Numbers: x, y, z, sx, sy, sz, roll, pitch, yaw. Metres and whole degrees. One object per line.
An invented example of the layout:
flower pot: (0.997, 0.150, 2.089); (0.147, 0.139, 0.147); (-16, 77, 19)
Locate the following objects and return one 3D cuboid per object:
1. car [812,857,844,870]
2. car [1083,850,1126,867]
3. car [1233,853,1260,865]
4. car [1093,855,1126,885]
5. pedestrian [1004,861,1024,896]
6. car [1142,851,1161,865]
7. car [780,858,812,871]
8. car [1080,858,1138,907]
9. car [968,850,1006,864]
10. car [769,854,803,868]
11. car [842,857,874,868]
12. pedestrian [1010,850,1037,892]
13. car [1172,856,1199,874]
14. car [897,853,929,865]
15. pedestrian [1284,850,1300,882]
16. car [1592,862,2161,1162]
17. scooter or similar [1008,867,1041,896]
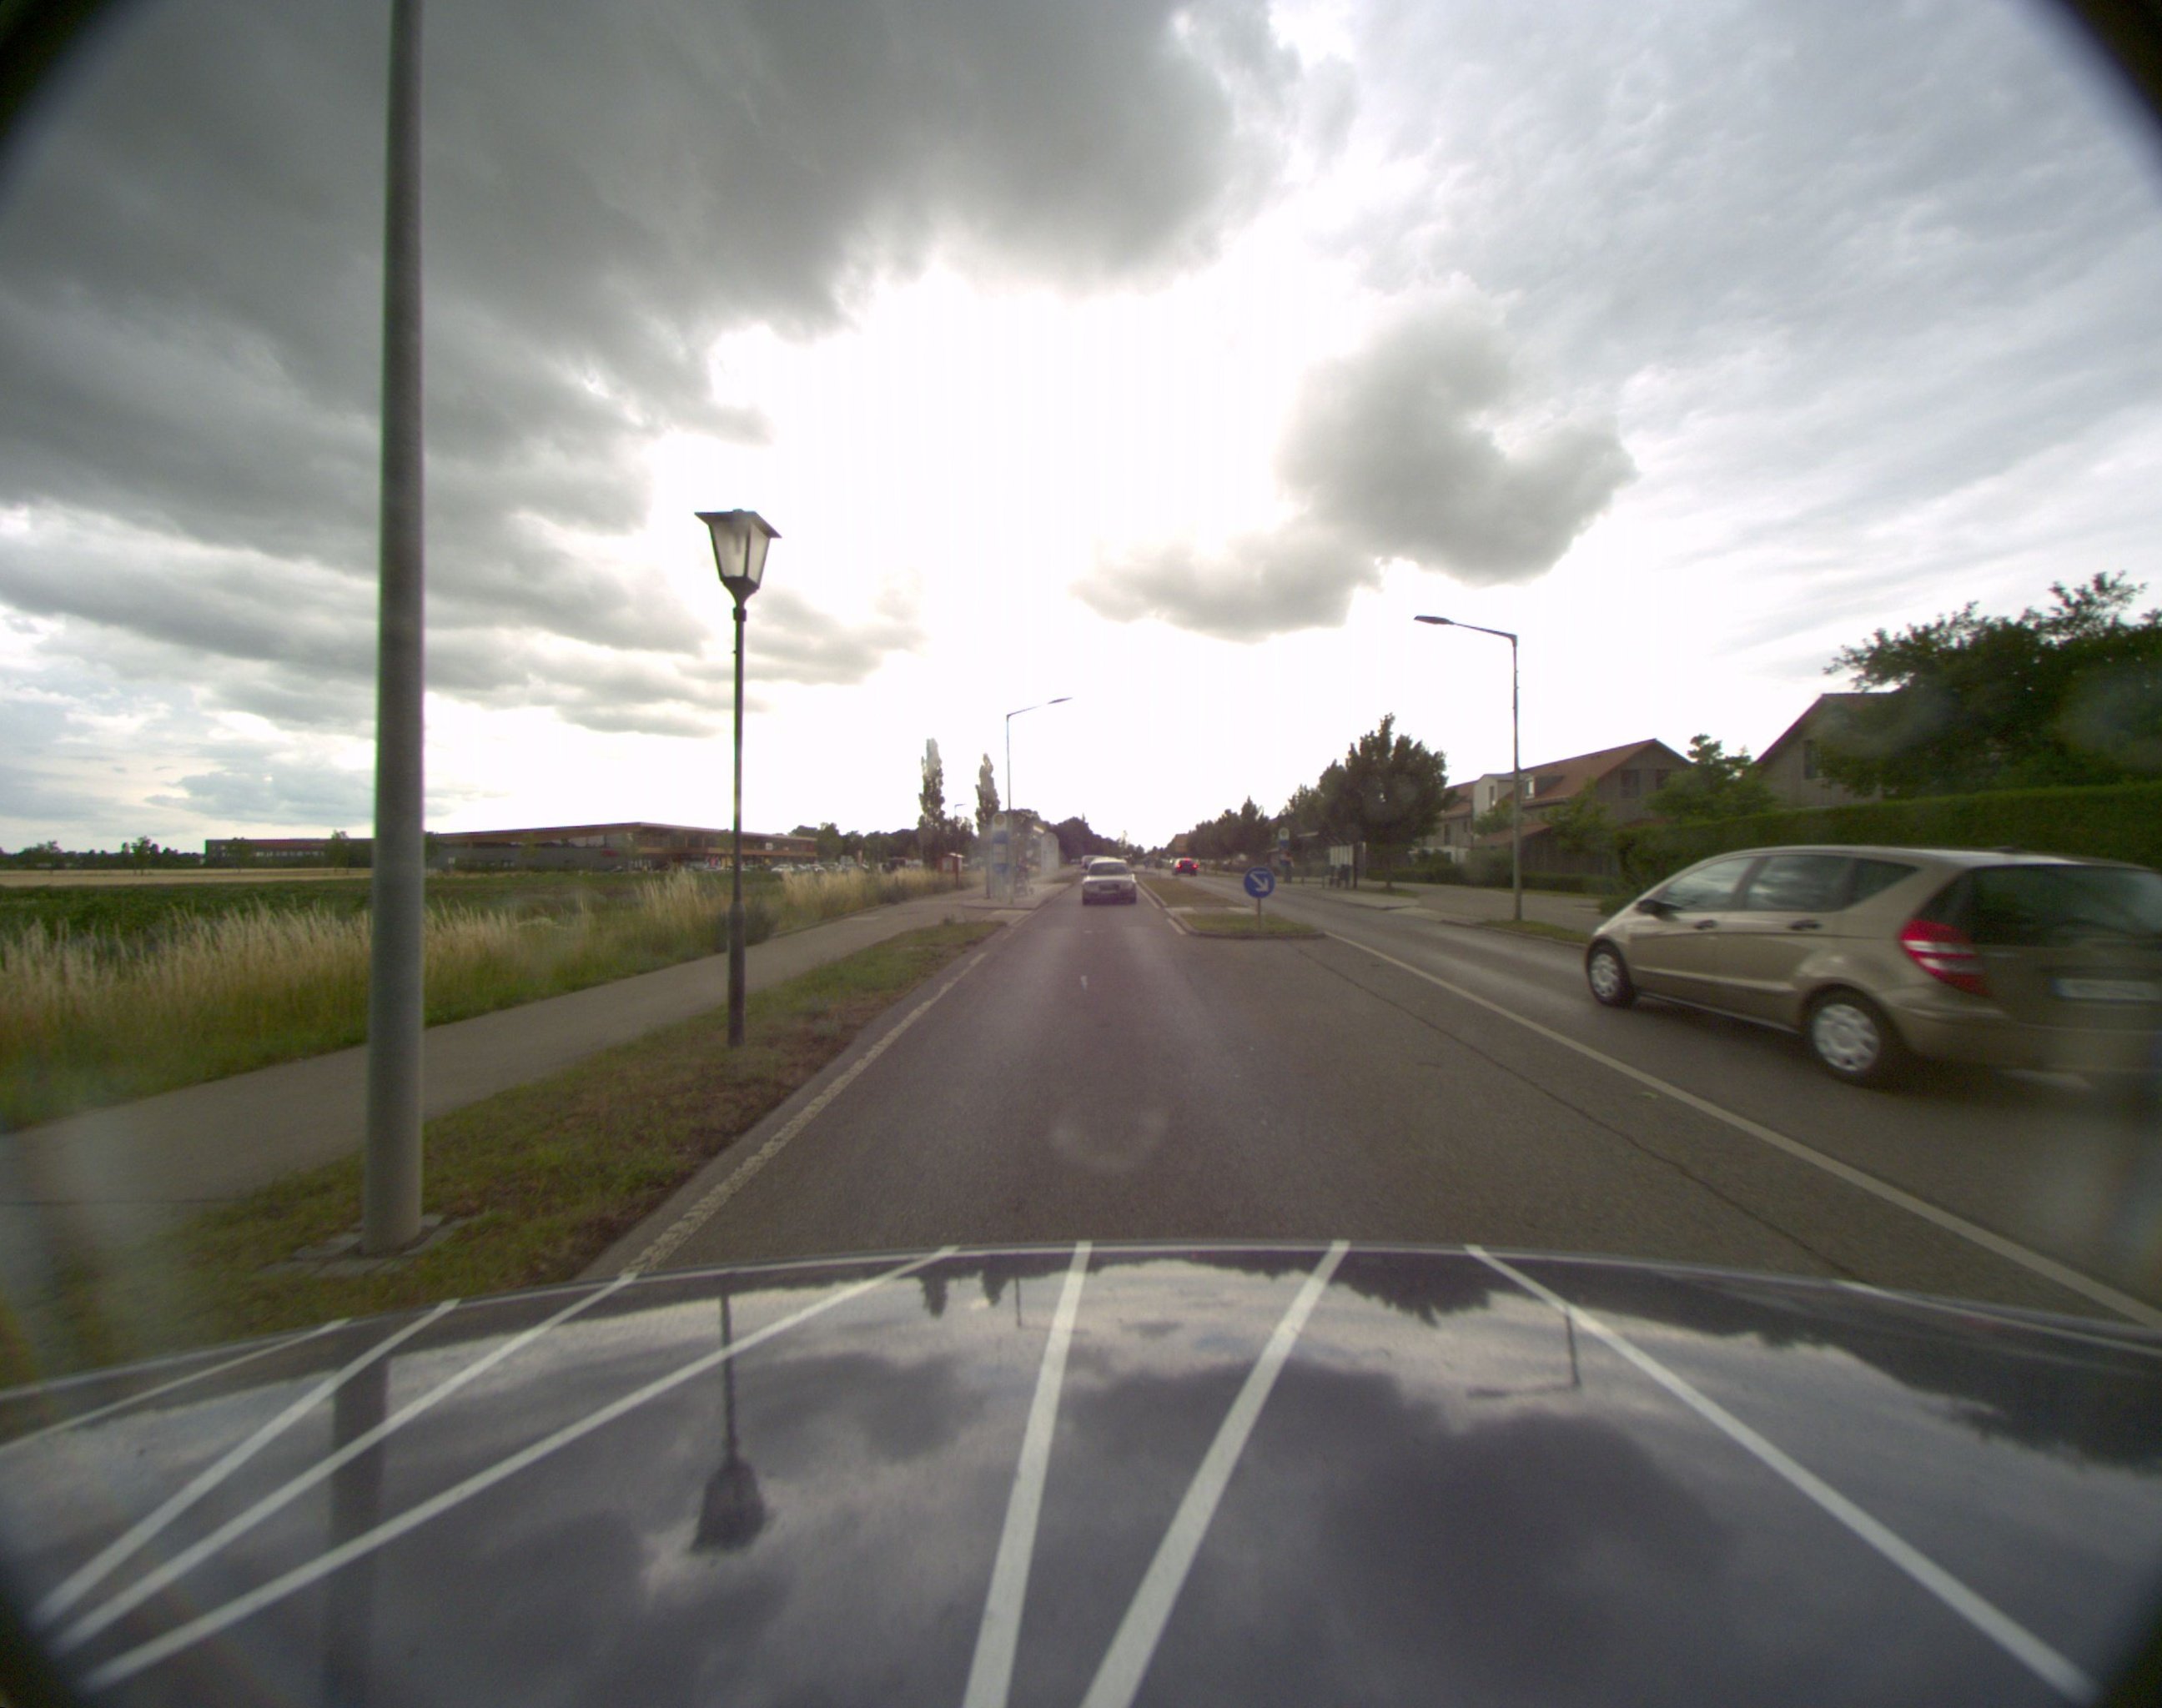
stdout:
car: (-43.583, 1.553, 130.935); (4.857, 2.002, 1.999); (-2, 1, -6)
car: (3.094, 0.602, 100.816); (5.320, 2.002, 1.997); (-3, 1, -14)
car: (29.309, 0.892, 134.652); (4.567, 2.002, 2.001); (-2, 1, 6)
car: (1.617, 0.860, 43.632); (1.763, 1.495, 4.691); (-3, 0, 2)
pedestrian: (-2.571, 0.926, 29.131); (0.666, 1.295, 0.505); (-3, 1, 0)
car: (10.941, 0.558, 118.466); (2.560, 2.002, 5.318); (-2, 0, 3)
car: (-50.214, 1.806, 134.102); (4.857, 2.002, 1.999); (-2, 1, -6)
car: (0.948, 0.898, 26.081); (1.763, 1.410, 4.520); (-3, 0, 2)
car: (-14.331, 0.441, 116.119); (5.526, 2.002, 1.999); (-2, 1, -4)
car: (-49.569, 1.172, 127.731); (4.857, 2.002, 1.999); (-2, 1, -6)
car: (-42.874, 1.642, 145.956); (5.526, 2.002, 1.999); (-2, 1, -4)
pedestrian: (-2.479, 0.721, 32.834); (0.782, 1.782, 0.780); (-2, 1, 23)
car: (9.087, 0.936, 66.380); (1.925, 1.445, 4.497); (0, 0, 3)
car: (-31.090, 0.872, 140.698); (5.526, 2.002, 1.999); (-2, 1, -4)
pedestrian: (10.802, 0.629, 38.949); (0.589, 1.627, 0.813); (-1, 0, 1)
car: (5.783, 0.854, 5.722); (1.710, 1.523, 3.509); (1, 0, 5)
scooter or similar: (-2.212, 1.057, 29.614); (0.707, 1.056, 1.062); (-2, 1, 39)
